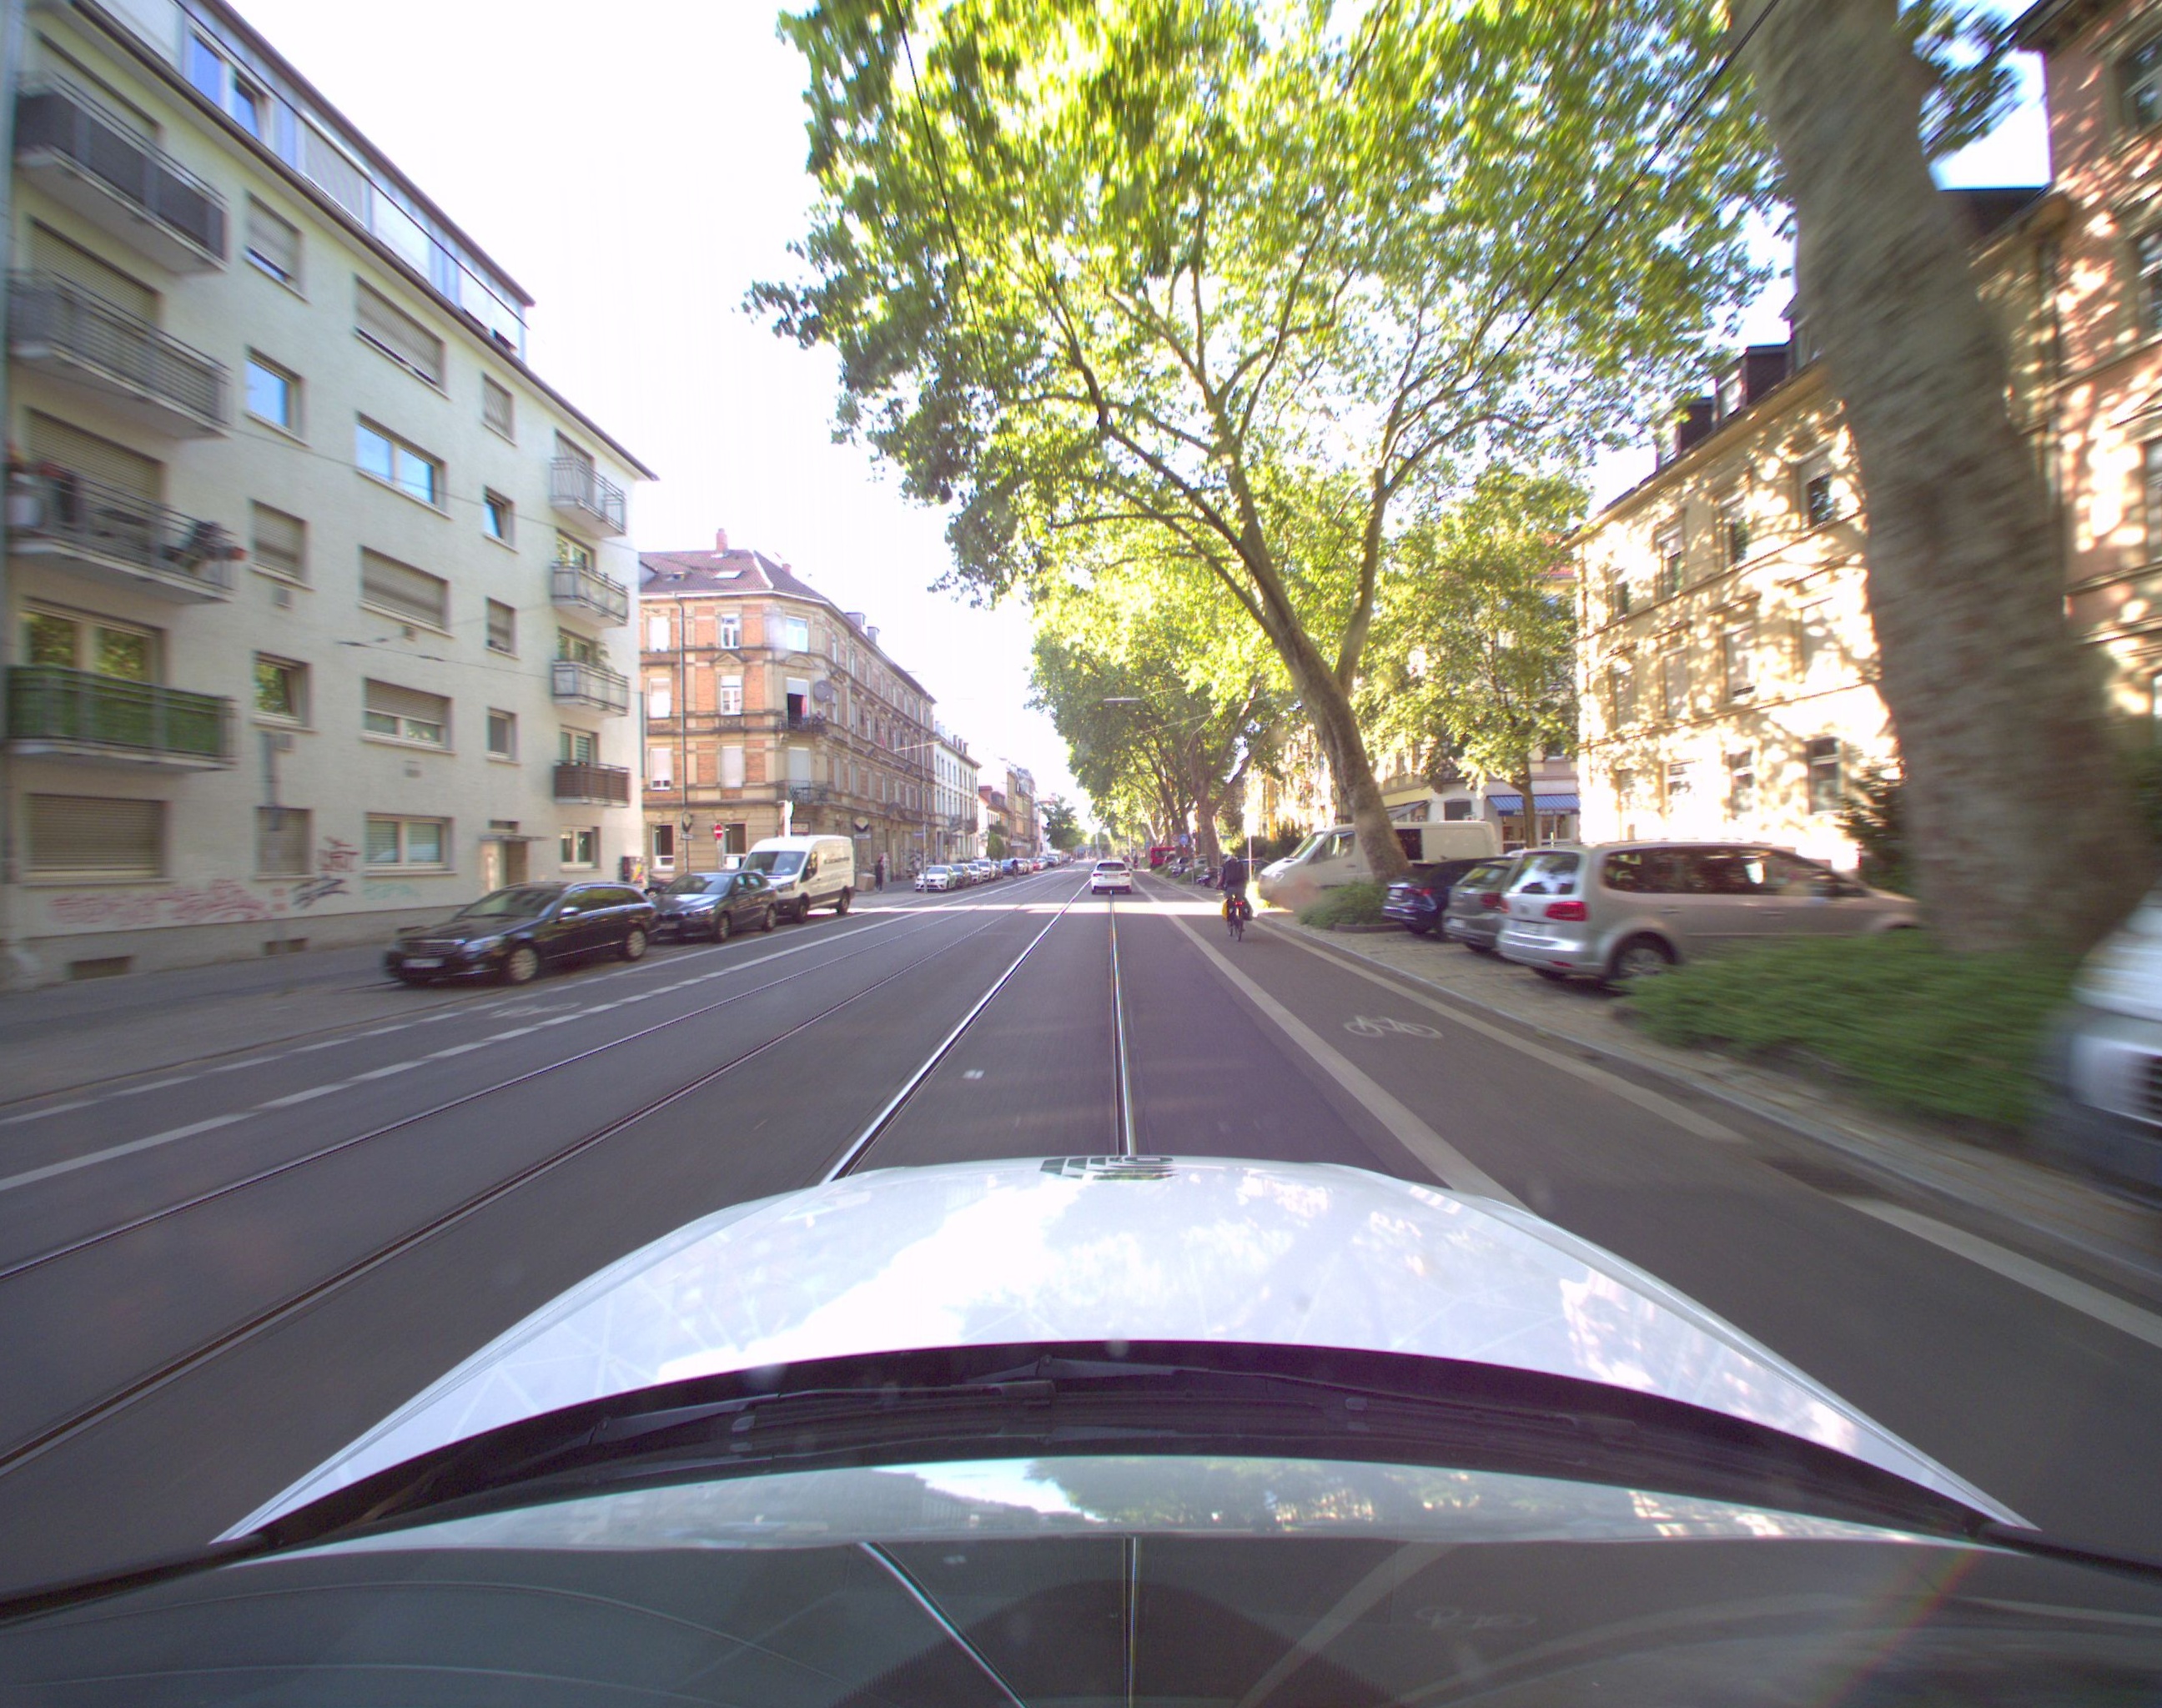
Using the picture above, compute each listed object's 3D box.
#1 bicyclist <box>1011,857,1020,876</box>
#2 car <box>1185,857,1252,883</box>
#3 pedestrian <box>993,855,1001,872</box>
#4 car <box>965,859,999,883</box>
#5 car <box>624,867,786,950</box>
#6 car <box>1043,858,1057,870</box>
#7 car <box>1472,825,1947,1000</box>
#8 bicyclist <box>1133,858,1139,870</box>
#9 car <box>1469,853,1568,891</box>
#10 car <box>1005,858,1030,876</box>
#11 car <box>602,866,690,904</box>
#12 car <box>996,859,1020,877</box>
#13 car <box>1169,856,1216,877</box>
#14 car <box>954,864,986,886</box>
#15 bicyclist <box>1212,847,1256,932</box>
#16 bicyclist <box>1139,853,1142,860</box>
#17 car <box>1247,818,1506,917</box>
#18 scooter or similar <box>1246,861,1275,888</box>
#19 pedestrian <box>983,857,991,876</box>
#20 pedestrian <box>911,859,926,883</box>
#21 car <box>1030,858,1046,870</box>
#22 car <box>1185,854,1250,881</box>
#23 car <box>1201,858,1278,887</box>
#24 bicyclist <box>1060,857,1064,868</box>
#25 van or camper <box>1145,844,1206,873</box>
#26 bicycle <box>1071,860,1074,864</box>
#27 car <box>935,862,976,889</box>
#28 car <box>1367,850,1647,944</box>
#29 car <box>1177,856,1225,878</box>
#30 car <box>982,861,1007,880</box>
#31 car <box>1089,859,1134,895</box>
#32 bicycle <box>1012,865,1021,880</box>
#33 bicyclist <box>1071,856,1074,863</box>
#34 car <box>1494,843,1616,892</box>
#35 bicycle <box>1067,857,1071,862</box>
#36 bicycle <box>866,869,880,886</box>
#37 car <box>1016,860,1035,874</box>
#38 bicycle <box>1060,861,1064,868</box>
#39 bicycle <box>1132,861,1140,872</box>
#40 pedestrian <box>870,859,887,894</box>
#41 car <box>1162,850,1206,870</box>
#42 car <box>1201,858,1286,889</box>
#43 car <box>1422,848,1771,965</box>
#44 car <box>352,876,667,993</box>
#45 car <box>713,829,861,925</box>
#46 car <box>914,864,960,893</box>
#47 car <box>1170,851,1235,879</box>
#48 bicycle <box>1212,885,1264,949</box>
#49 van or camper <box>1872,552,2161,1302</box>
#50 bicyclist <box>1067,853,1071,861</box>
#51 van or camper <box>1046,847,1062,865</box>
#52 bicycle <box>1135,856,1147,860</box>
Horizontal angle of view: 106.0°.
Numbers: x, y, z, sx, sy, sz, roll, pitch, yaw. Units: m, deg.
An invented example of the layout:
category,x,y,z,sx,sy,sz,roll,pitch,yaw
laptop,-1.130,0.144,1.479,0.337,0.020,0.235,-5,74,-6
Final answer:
category,x,y,z,sx,sy,sz,roll,pitch,yaw
bicyclist,-5.278,1.018,65.222,0.580,1.482,0.807,-2,-1,1
car,8.746,1.002,52.084,4.014,1.480,1.681,-2,0,0
pedestrian,-8.881,1.006,85.932,0.757,1.821,0.830,-1,0,-1
car,-7.335,1.225,60.980,1.779,1.723,4.721,0,0,2
car,-8.600,1.174,19.100,1.712,1.631,4.347,-1,0,1
car,-4.842,1.513,129.114,1.957,1.781,4.938,1,0,1
car,6.811,0.599,9.152,3.943,1.655,1.795,-2,-1,-1
bicyclist,5.805,1.066,85.937,0.676,1.339,0.525,0,-1,2
car,20.091,0.807,37.514,3.663,1.616,1.692,-1,2,1
car,-6.337,1.246,81.538,1.849,1.703,4.767,-2,0,3
car,-20.221,1.446,37.927,3.153,1.585,1.725,-1,1,7
car,-6.758,1.273,76.085,1.547,1.515,3.929,-2,0,5
car,9.154,0.983,67.009,3.581,1.517,1.694,-3,0,2
car,-7.534,1.404,55.579,1.695,1.420,3.997,0,0,-2
bicyclist,2.905,0.660,15.576,0.612,1.552,0.936,3,0,2
bicyclist,14.596,0.612,200.050,0.731,1.589,0.589,-2,-1,14
car,7.452,0.325,21.043,5.966,2.282,2.008,-2,0,3
scooter or similar,8.620,0.989,39.072,1.297,1.256,0.342,-1,0,15
pedestrian,-9.933,1.335,86.027,0.757,2.013,0.830,-1,0,0
pedestrian,-11.018,1.142,55.120,0.656,1.665,0.773,0,-1,34
car,-5.712,1.355,107.952,1.821,1.502,4.688,0,0,0
car,9.120,0.891,54.666,4.014,1.643,1.681,-2,0,0
car,8.823,1.038,45.458,4.075,1.491,1.684,-1,0,6
bicyclist,-2.814,1.219,122.557,0.471,1.636,0.800,-1,0,3
van or camper,9.394,0.428,81.344,5.796,2.519,2.287,-3,1,0
bicycle,-1.824,1.706,177.108,0.496,0.943,1.923,-3,0,4
car,-7.708,1.302,50.355,1.734,1.562,4.787,0,0,1
car,7.437,0.725,14.520,4.040,1.460,1.796,-2,0,0
car,9.497,1.031,64.560,3.581,1.599,1.542,-1,-1,2
car,-7.025,1.337,66.382,1.657,1.521,4.064,0,0,0
car,1.252,0.956,35.405,1.836,1.480,3.838,0,0,0
bicycle,-5.197,1.454,65.409,0.419,1.150,2.232,-2,-1,1
bicyclist,-1.869,1.275,177.003,0.635,1.503,1.070,-2,-1,3
car,14.796,0.404,25.645,1.727,1.455,3.568,0,0,-1
bicycle,-2.527,1.218,169.460,0.482,1.047,2.042,-3,0,4
bicycle,-12.875,1.454,50.379,0.371,1.034,1.848,-1,0,-1
car,-6.229,1.419,92.063,1.680,1.477,4.260,0,0,2
bicycle,-2.809,1.552,122.490,0.479,1.086,1.847,-1,0,3
bicycle,5.812,1.333,86.161,0.677,1.155,2.966,0,0,2
pedestrian,-10.496,1.142,42.243,0.683,1.801,1.054,0,-1,-7
car,9.672,0.555,76.622,3.807,1.649,1.766,-3,-2,-1
car,8.490,1.031,42.804,4.083,1.491,1.830,-1,0,-1
car,7.338,0.716,11.916,3.940,1.478,1.797,-2,0,1
car,-8.966,1.169,13.392,1.711,1.456,4.576,-1,0,4
car,-8.644,0.627,24.663,2.056,2.535,5.672,-1,0,4
car,-7.911,1.335,45.128,1.734,1.492,4.046,0,0,1
car,8.587,0.781,57.717,4.249,1.719,1.848,-4,0,-1
bicycle,2.943,1.148,15.491,0.593,1.004,2.512,1,0,2
van or camper,6.581,0.164,2.574,6.011,2.491,2.108,-2,-1,1
bicyclist,-2.454,0.723,169.245,0.533,1.634,0.897,-3,-1,4
van or camper,-4.850,0.421,147.470,2.207,3.140,7.121,0,0,4
bicycle,14.685,0.961,200.014,2.748,0.999,0.595,0,-1,16
